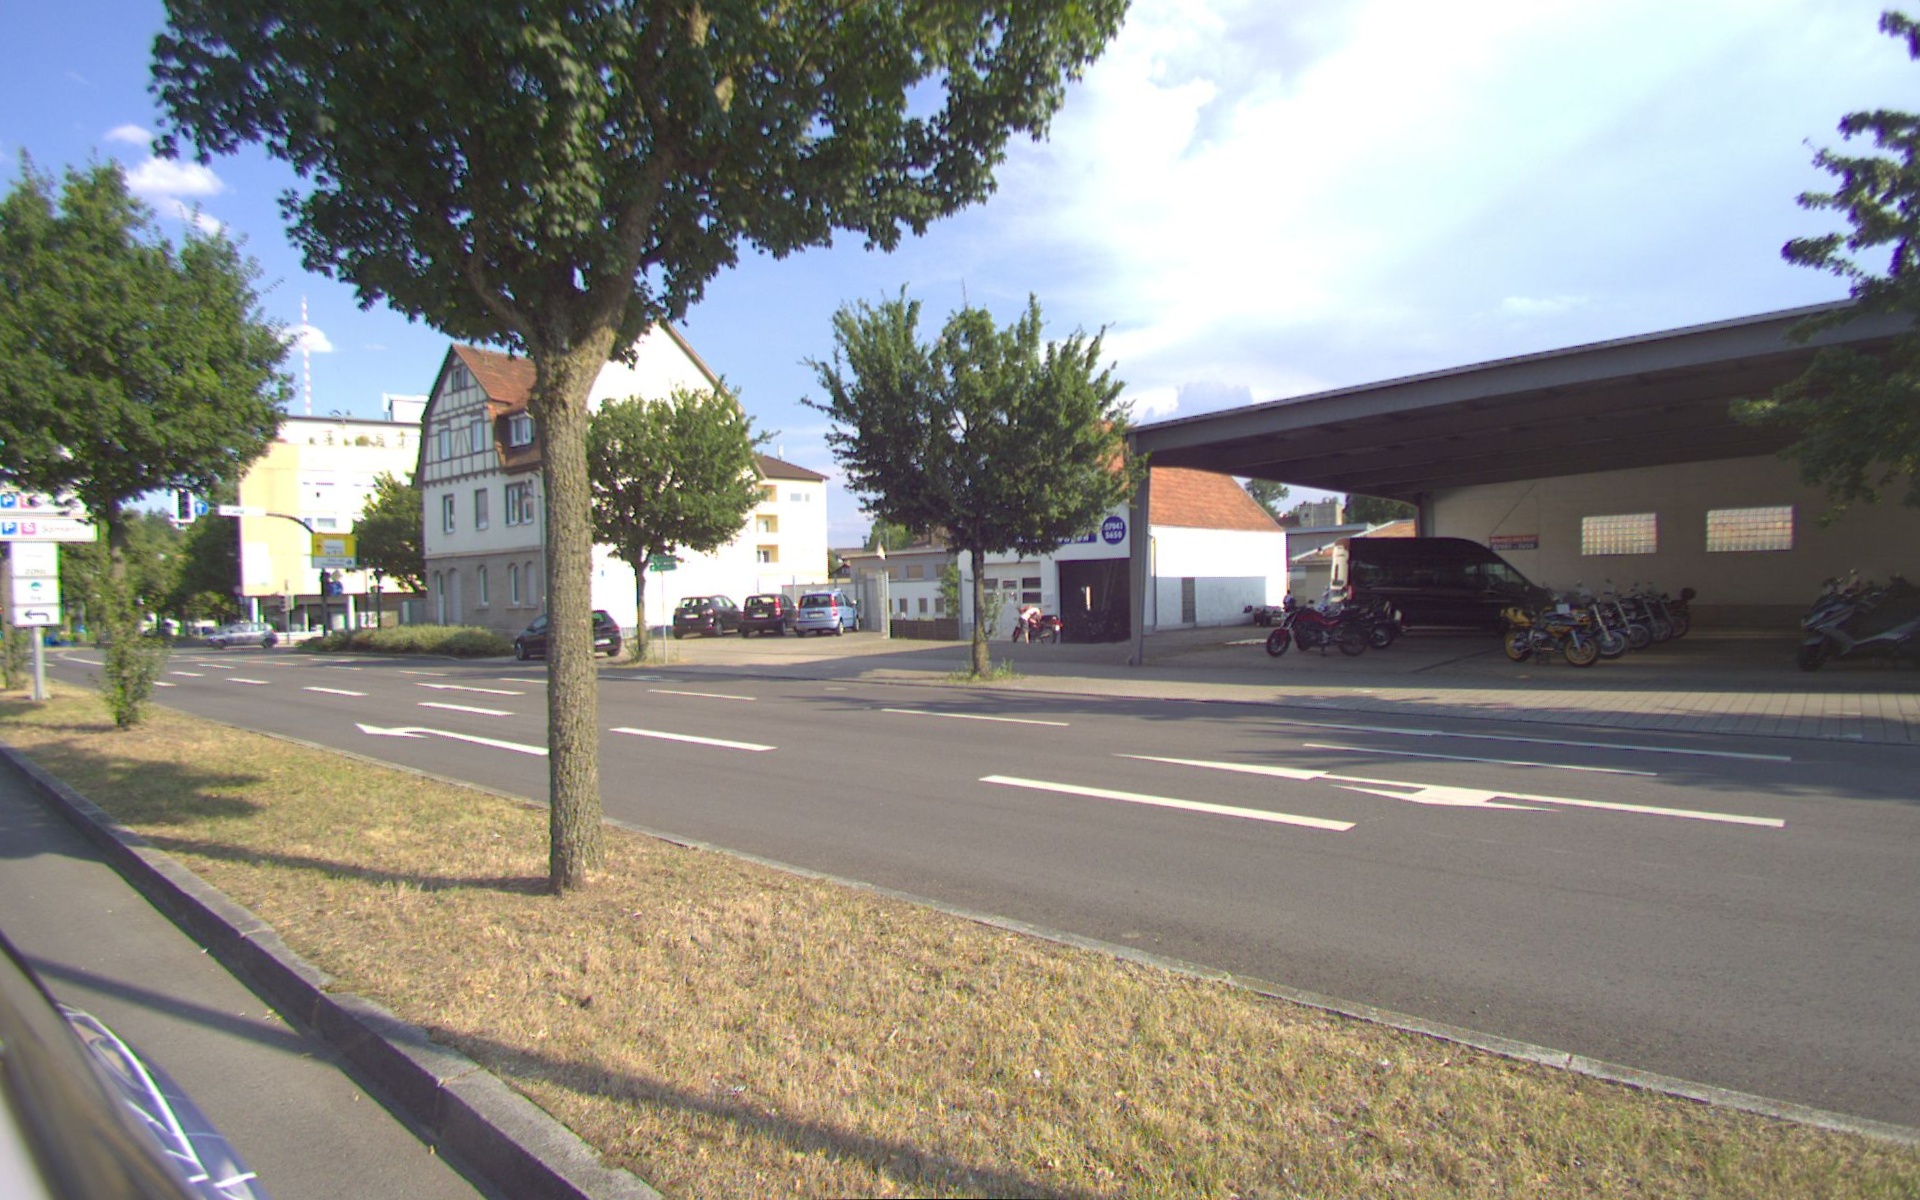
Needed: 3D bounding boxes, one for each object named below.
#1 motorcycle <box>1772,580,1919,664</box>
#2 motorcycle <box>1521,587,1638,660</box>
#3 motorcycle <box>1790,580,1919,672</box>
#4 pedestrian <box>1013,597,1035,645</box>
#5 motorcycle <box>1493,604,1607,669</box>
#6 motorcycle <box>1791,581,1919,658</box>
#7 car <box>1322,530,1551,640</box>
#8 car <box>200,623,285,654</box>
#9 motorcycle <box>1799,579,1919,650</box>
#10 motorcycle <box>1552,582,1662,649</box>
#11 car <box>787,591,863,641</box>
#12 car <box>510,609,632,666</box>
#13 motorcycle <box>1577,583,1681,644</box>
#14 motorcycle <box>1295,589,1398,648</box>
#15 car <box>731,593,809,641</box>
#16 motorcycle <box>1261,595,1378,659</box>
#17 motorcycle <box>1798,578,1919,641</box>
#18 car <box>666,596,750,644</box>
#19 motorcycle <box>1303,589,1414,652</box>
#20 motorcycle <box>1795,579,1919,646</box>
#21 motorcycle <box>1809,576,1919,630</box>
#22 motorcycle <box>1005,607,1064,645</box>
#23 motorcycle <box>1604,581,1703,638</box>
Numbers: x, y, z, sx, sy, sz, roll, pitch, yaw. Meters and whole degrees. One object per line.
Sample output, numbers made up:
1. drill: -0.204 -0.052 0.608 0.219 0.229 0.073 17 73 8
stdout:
1. motorcycle: 14.912 0.365 16.783 2.103 1.306 0.628 -3 -1 18
2. motorcycle: 12.158 0.441 19.964 0.621 1.347 2.269 -1 0 -9
3. motorcycle: 13.860 0.378 15.123 2.103 1.306 0.628 -3 -1 18
4. pedestrian: 2.073 0.679 32.773 0.485 1.530 0.496 -1 0 41
5. motorcycle: 10.530 0.622 18.159 0.621 1.095 2.038 -1 0 -7
6. motorcycle: 16.530 0.344 18.355 2.103 1.306 0.628 -3 -1 18
7. car: 12.866 -0.373 27.636 5.221 2.773 1.996 -1 0 7
8. car: -42.295 2.247 59.689 3.937 1.644 1.863 -1 0 -41
9. motorcycle: 18.044 0.274 19.995 2.103 1.306 0.628 -3 -1 18
10. motorcycle: 13.864 0.328 21.777 0.621 1.347 2.269 -1 0 -9
11. car: -4.681 0.523 35.687 1.797 1.512 3.819 -3 2 5
12. car: -11.600 1.081 30.087 3.823 1.462 1.795 -1 2 42
13. motorcycle: 15.537 0.307 23.586 0.621 1.347 2.269 -1 0 -9
14. motorcycle: 9.379 0.456 24.616 2.198 1.372 0.630 -1 0 5
15. car: -6.920 0.588 37.317 1.797 1.512 3.819 -3 2 5
16. motorcycle: 7.496 0.564 21.168 2.202 1.290 0.629 -1 0 11
17. motorcycle: 20.228 0.212 22.651 2.103 1.306 0.628 -3 -1 18
18. car: -9.321 0.692 37.709 1.797 1.512 3.819 -3 2 5
19. motorcycle: 8.956 0.453 22.812 2.198 1.372 0.630 -1 0 5
20. motorcycle: 19.034 0.261 21.296 2.103 1.306 0.628 -3 -1 18
21. motorcycle: 23.734 0.080 26.528 2.103 1.306 0.628 -3 -1 18
22. motorcycle: 2.434 0.842 33.219 1.974 1.194 0.577 -1 0 41
23. motorcycle: 17.291 0.225 25.310 0.621 1.347 2.269 -1 0 -9
